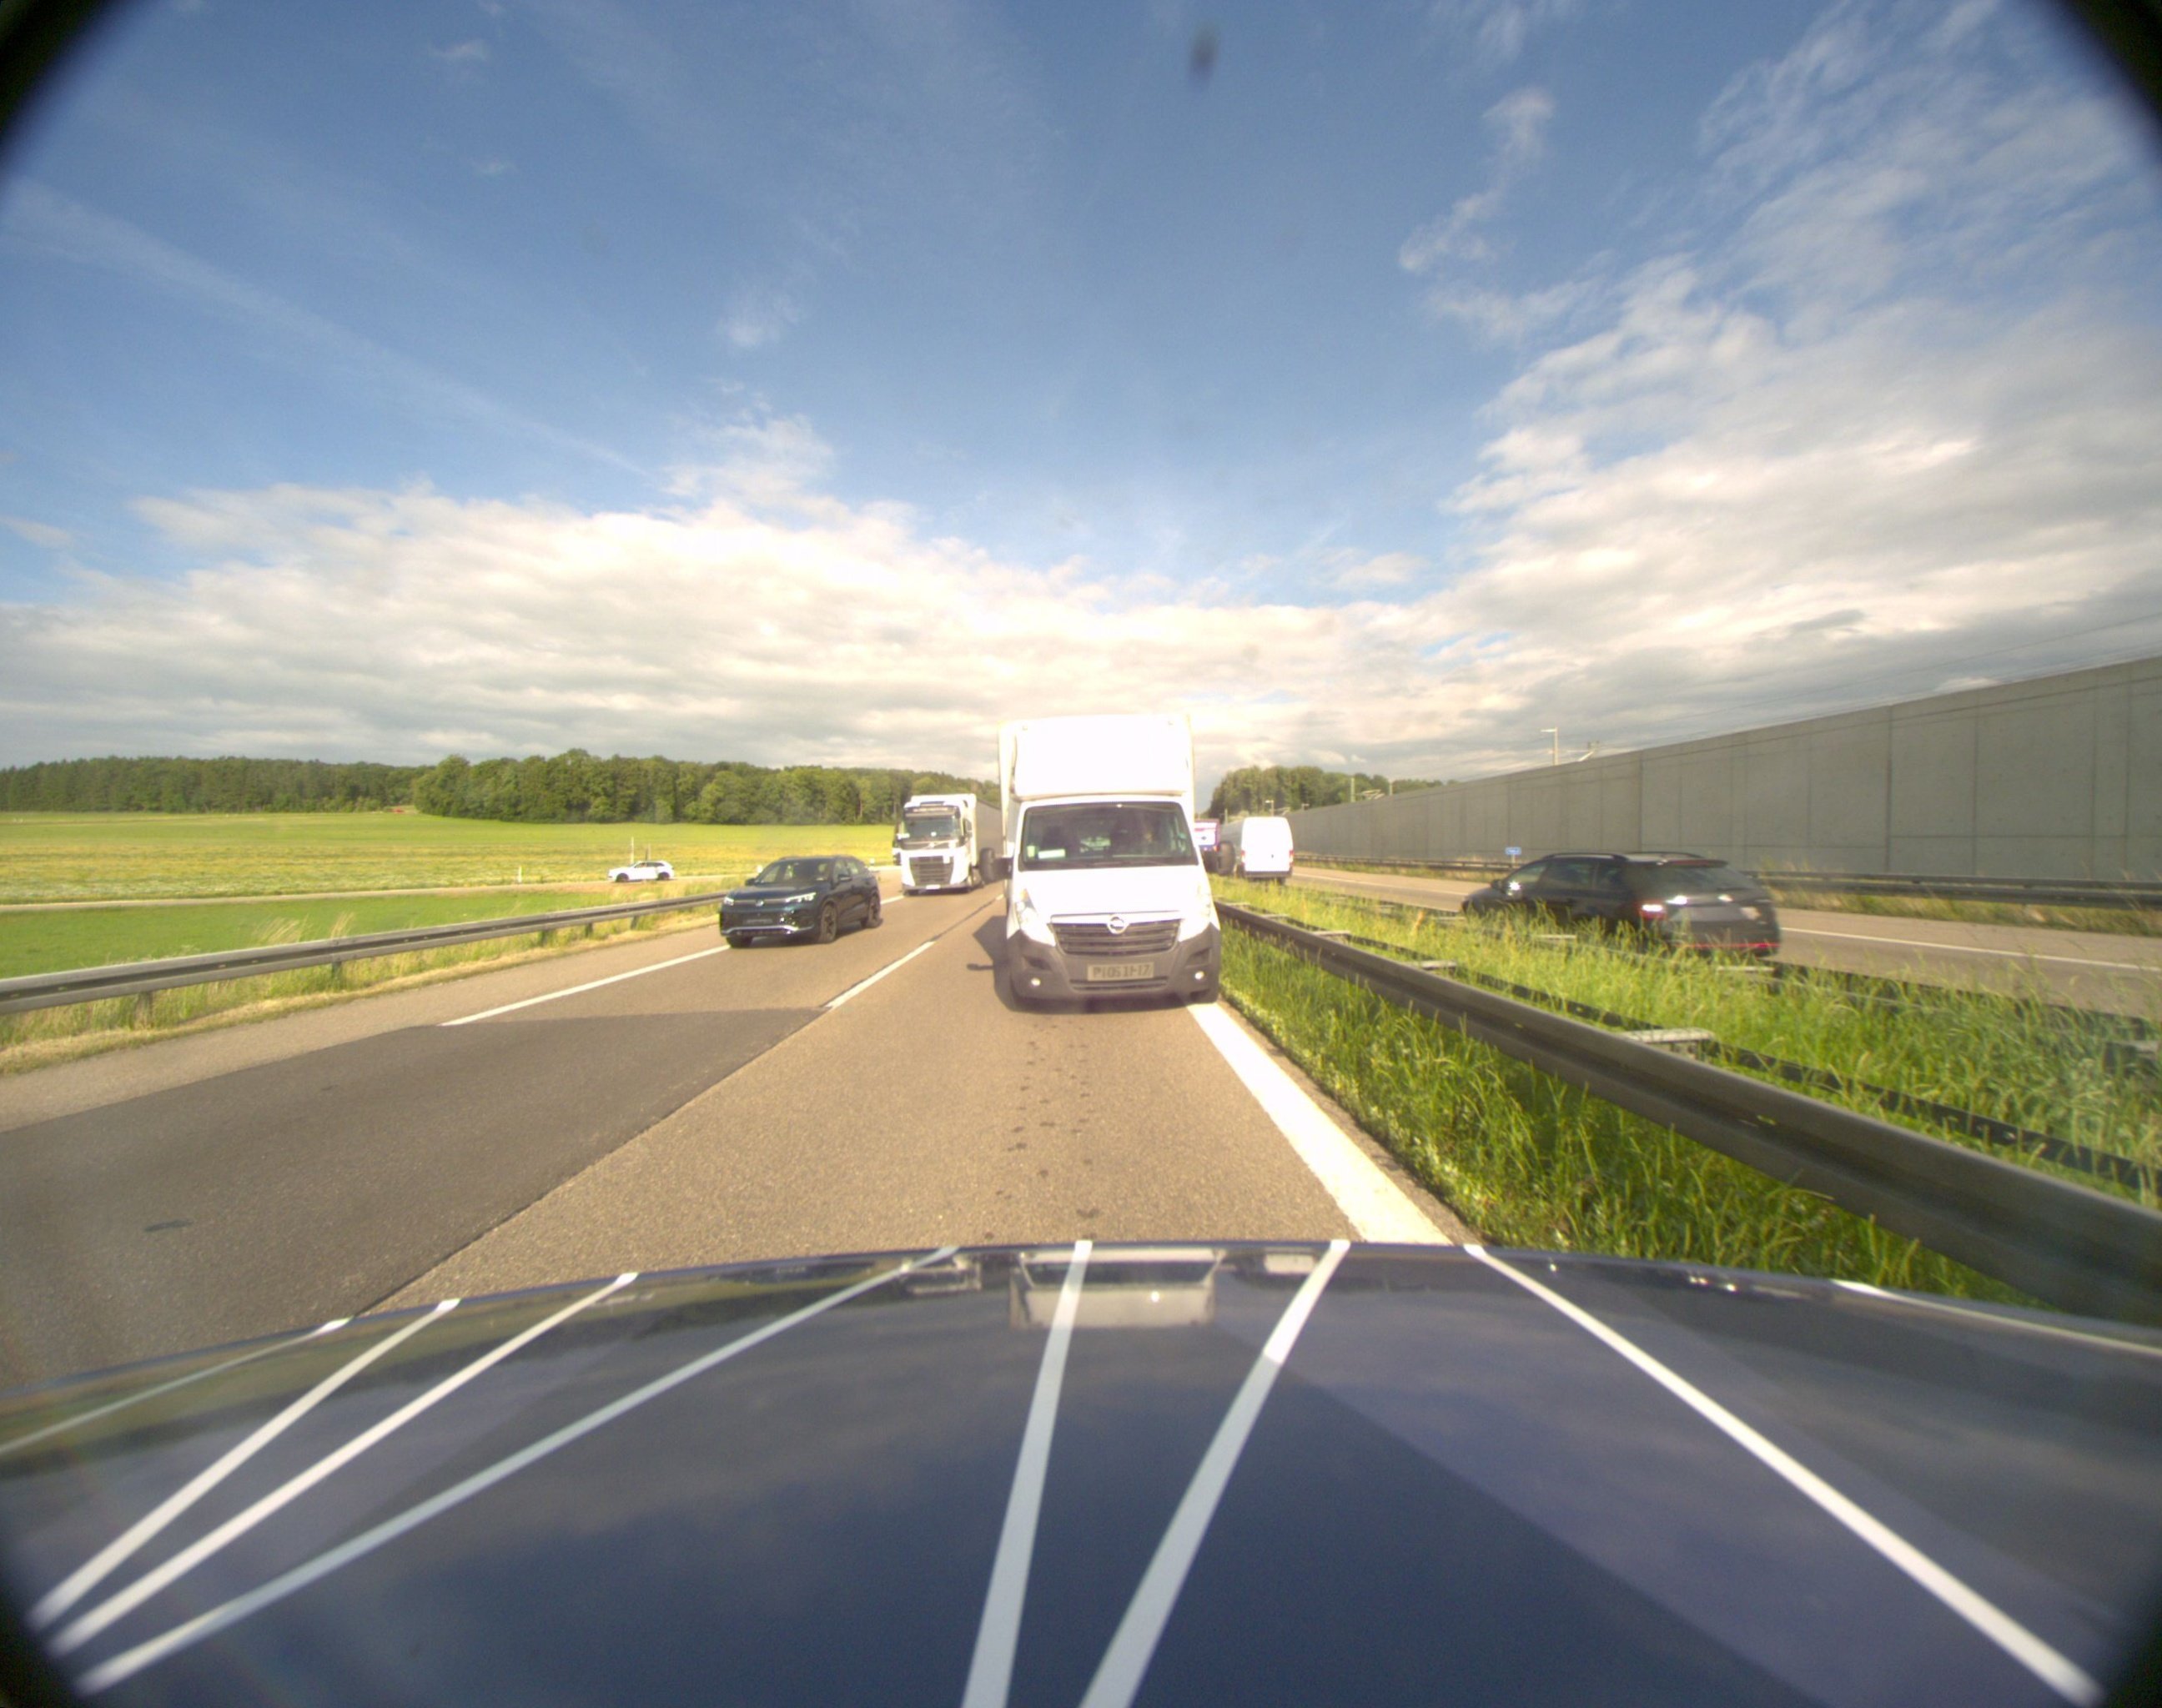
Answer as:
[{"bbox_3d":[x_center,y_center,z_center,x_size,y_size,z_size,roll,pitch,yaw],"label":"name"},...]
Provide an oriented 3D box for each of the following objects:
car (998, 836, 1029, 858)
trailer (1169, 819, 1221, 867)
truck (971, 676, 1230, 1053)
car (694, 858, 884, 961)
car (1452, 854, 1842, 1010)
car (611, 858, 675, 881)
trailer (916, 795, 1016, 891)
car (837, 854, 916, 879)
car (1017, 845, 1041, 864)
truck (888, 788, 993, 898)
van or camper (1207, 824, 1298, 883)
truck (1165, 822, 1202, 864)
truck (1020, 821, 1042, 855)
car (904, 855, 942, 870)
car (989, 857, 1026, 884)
[{"bbox_3d":[-5.373,-0.594,60.907,1.998,1.647,3.999,-2,1,0],"label":"car"},{"bbox_3d":[10.587,-1.051,71.810,2.661,4.057,12.393,-2,1,-1],"label":"trailer"},{"bbox_3d":[0.246,0.039,10.263,2.059,3.088,7.802,-2,1,1],"label":"truck"},{"bbox_3d":[-5.487,0.953,14.946,1.998,1.587,4.118,-2,1,1],"label":"car"},{"bbox_3d":[6.986,0.810,10.157,1.848,1.499,4.550,-2,1,1],"label":"car"},{"bbox_3d":[-33.956,1.169,58.969,4.007,1.609,1.995,-3,1,-37],"label":"car"},{"bbox_3d":[-5.418,-0.558,38.493,2.826,3.959,12.127,-2,1,1],"label":"trailer"},{"bbox_3d":[-14.522,0.885,54.186,1.994,1.537,5.090,-1,1,43],"label":"car"},{"bbox_3d":[-5.081,0.029,74.324,1.998,1.647,3.999,-2,1,0],"label":"car"},{"bbox_3d":[-5.562,-0.447,31.280,2.842,3.967,6.500,-2,1,1],"label":"truck"},{"bbox_3d":[7.123,-0.074,32.431,2.172,2.193,6.256,-2,1,-2],"label":"van or camper"},{"bbox_3d":[10.463,-1.149,78.046,2.644,4.074,7.000,-2,1,-1],"label":"truck"},{"bbox_3d":[-5.610,-1.754,85.847,1.998,3.663,5.931,-2,1,0],"label":"truck"},{"bbox_3d":[-17.010,0.914,81.759,3.567,1.521,1.720,-3,1,-38],"label":"car"},{"bbox_3d":[-4.902,1.069,51.364,1.998,1.647,3.999,-2,1,0],"label":"car"}]
